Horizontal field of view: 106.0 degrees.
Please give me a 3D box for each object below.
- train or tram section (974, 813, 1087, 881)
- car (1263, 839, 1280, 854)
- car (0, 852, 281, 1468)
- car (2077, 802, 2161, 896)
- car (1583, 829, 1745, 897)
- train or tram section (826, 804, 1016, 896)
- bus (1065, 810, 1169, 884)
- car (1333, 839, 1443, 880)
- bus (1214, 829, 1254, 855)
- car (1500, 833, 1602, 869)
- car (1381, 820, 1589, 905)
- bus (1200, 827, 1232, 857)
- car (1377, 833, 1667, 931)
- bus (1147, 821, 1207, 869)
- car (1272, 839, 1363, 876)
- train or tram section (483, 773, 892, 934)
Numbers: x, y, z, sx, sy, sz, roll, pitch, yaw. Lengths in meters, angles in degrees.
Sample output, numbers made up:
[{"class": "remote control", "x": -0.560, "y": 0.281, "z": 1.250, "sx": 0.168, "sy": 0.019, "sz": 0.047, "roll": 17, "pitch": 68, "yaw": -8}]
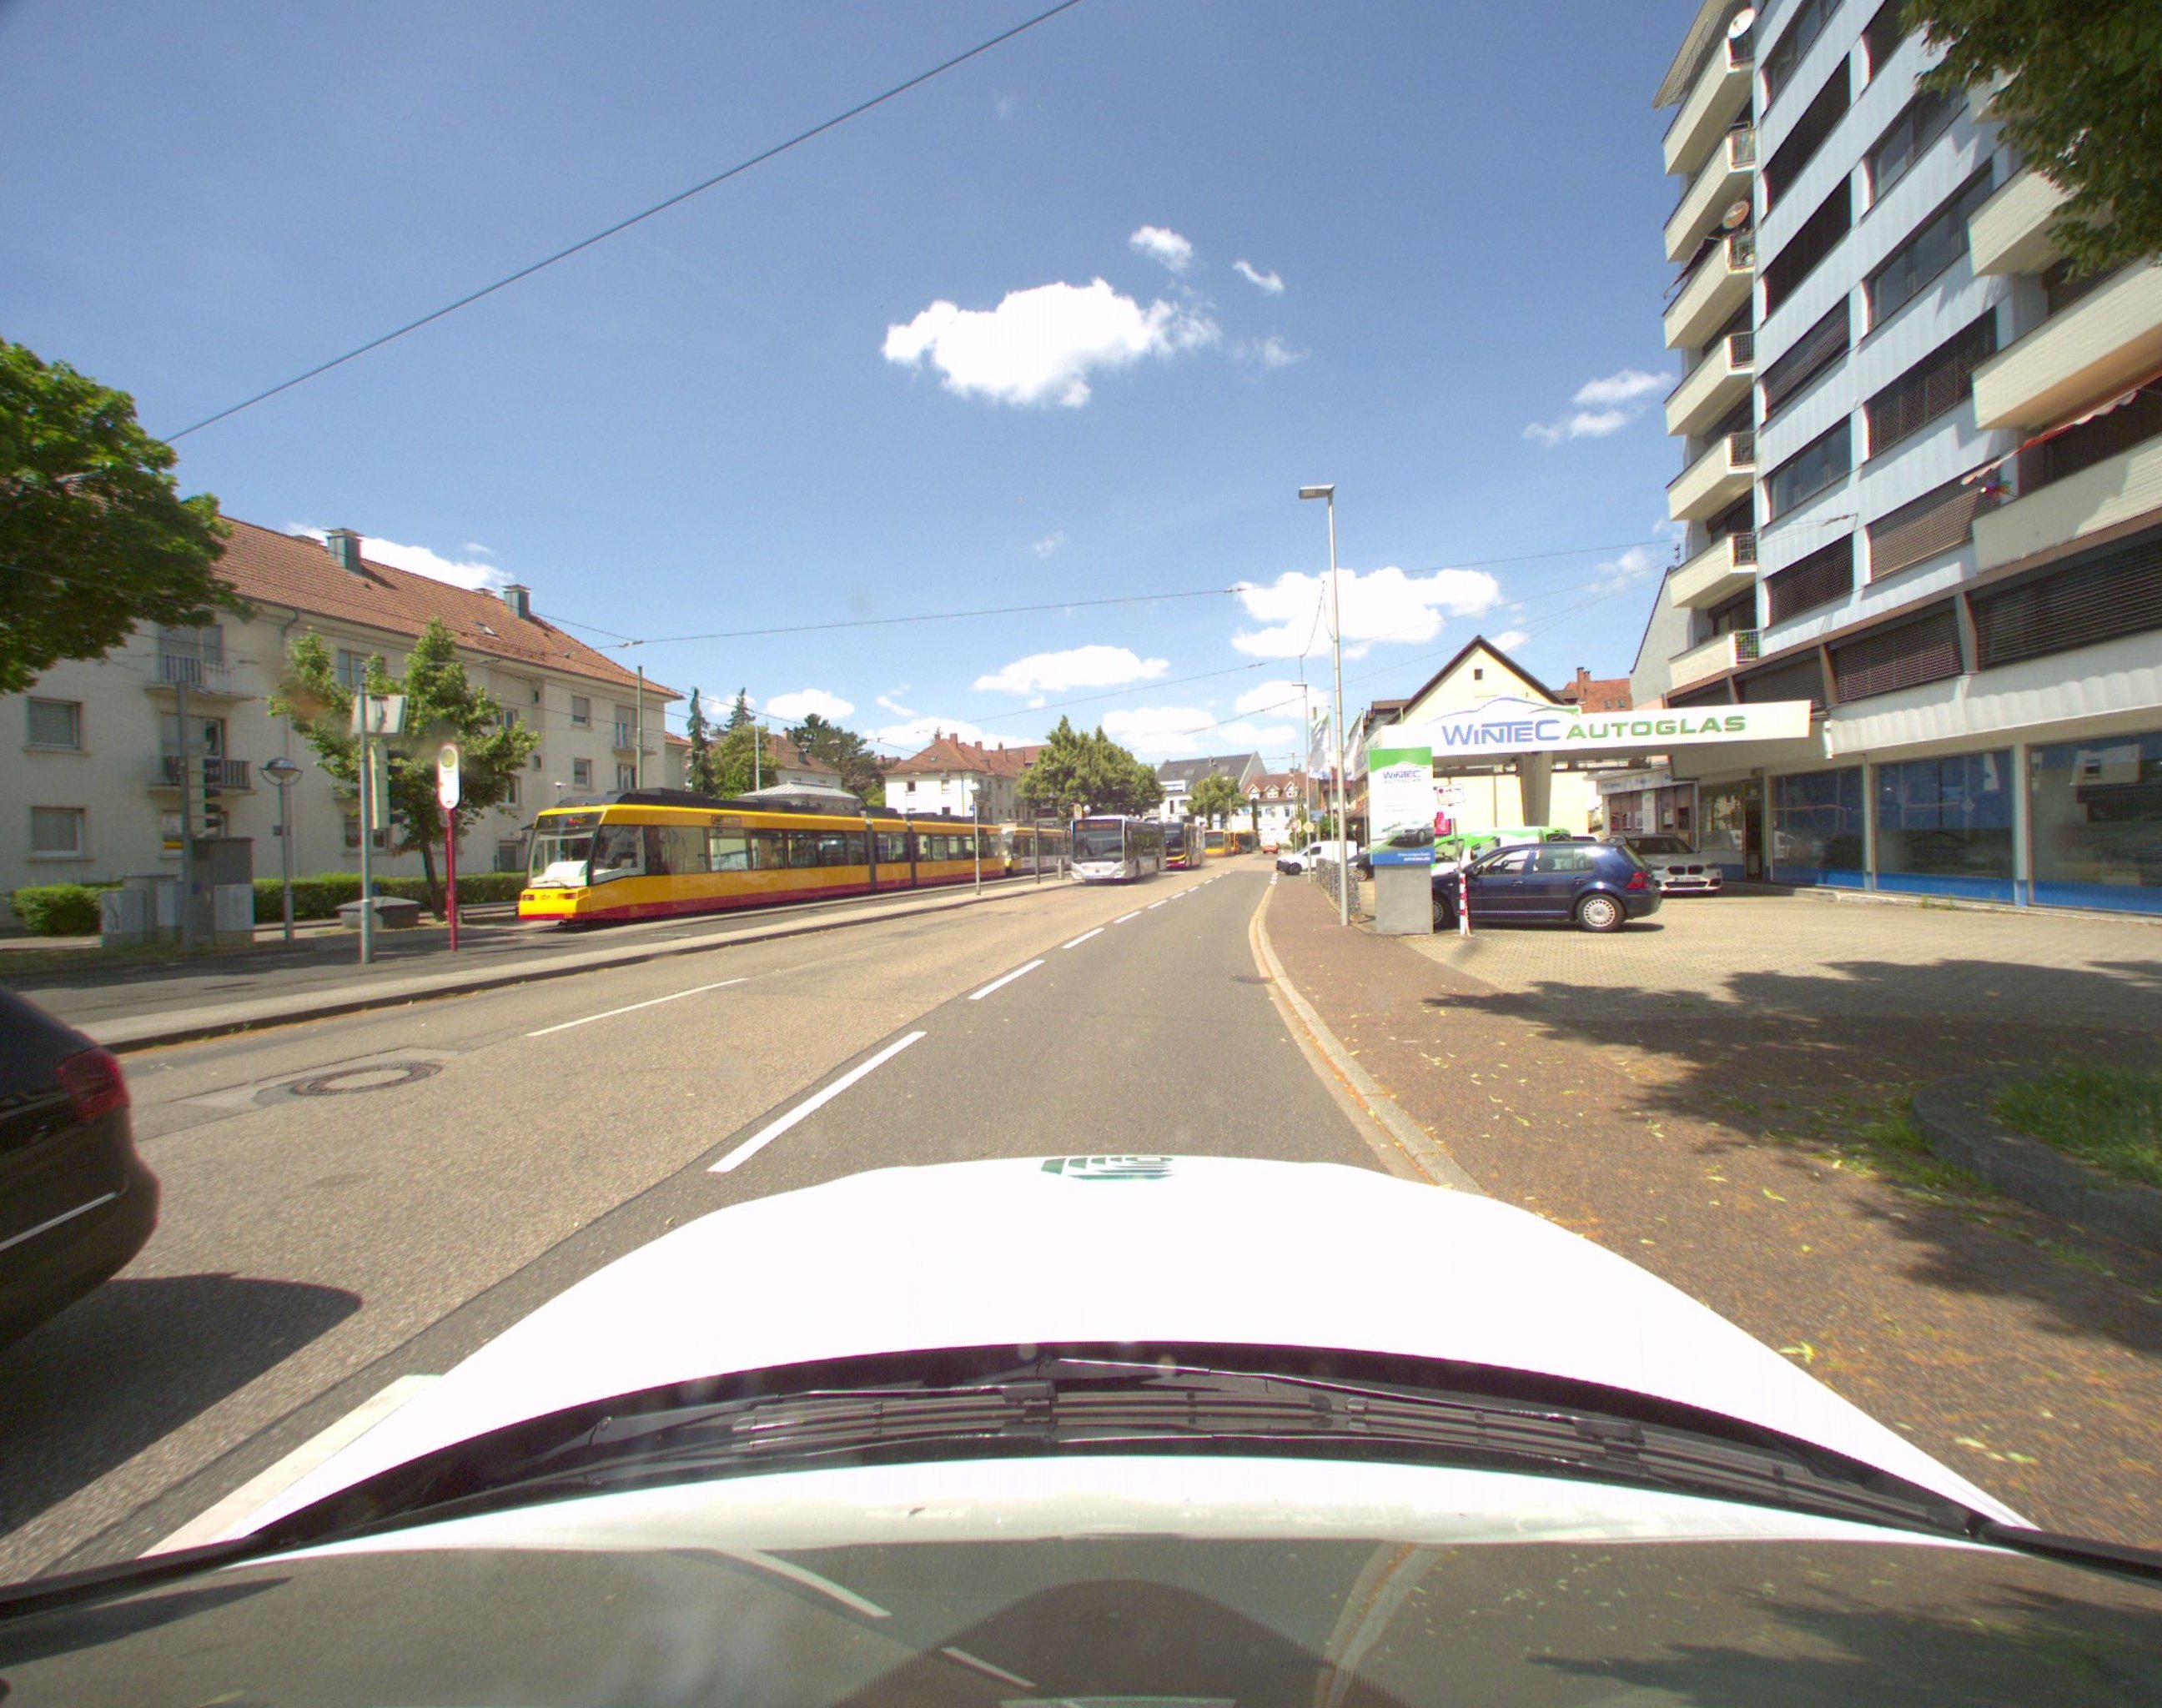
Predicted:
[{"class": "train or tram section", "x": -2.928, "y": -0.452, "z": 54.902, "sx": 2.765, "sy": 3.895, "sz": 15.613, "roll": -1, "pitch": 0, "yaw": 15}, {"class": "car", "x": 25.400, "y": -0.978, "z": 108.432, "sx": 1.793, "sy": 1.981, "sz": 4.020, "roll": -1, "pitch": 0, "yaw": 19}, {"class": "car", "x": -3.785, "y": 0.782, "z": 0.467, "sx": 1.985, "sy": 1.519, "sz": 4.517, "roll": -1, "pitch": 0, "yaw": 4}, {"class": "car", "x": 18.854, "y": -0.101, "z": 12.707, "sx": 1.979, "sy": 1.585, "sz": 4.399, "roll": -1, "pitch": 0, "yaw": 15}, {"class": "car", "x": 15.317, "y": 0.212, "z": 21.723, "sx": 1.994, "sy": 1.596, "sz": 4.304, "roll": -1, "pitch": 0, "yaw": 13}, {"class": "train or tram section", "x": -6.934, "y": -0.202, "z": 39.302, "sx": 2.765, "sy": 3.568, "sz": 14.763, "roll": -1, "pitch": 0, "yaw": 15}, {"class": "bus", "x": 2.143, "y": -0.345, "z": 40.734, "sx": 2.711, "sy": 3.129, "sz": 12.054, "roll": -1, "pitch": 0, "yaw": 14}, {"class": "car", "x": 12.714, "y": 0.220, "z": 33.894, "sx": 3.914, "sy": 1.518, "sz": 1.824, "roll": -2, "pitch": 0, "yaw": 2}, {"class": "bus", "x": 20.152, "y": -1.612, "z": 106.893, "sx": 2.610, "sy": 3.218, "sz": 9.998, "roll": -1, "pitch": 0, "yaw": 25}, {"class": "car", "x": 24.827, "y": -0.163, "z": 43.149, "sx": 4.278, "sy": 1.809, "sz": 2.006, "roll": -1, "pitch": 2, "yaw": 10}, {"class": "car", "x": 9.428, "y": 0.204, "z": 19.304, "sx": 1.850, "sy": 1.794, "sz": 3.982, "roll": -2, "pitch": 0, "yaw": -35}, {"class": "bus", "x": 15.743, "y": -1.394, "z": 94.464, "sx": 2.711, "sy": 3.218, "sz": 11.091, "roll": -1, "pitch": 0, "yaw": 14}, {"class": "car", "x": 7.498, "y": 0.456, "z": 14.007, "sx": 4.118, "sy": 1.439, "sz": 1.914, "roll": -2, "pitch": 0, "yaw": 37}, {"class": "bus", "x": 7.203, "y": -0.651, "z": 59.529, "sx": 2.711, "sy": 3.129, "sz": 12.054, "roll": -1, "pitch": 0, "yaw": 14}, {"class": "car", "x": 12.690, "y": 0.177, "z": 43.888, "sx": 4.290, "sy": 1.809, "sz": 2.000, "roll": -1, "pitch": 2, "yaw": 0}, {"class": "train or tram section", "x": -10.562, "y": -0.050, "z": 25.283, "sx": 2.789, "sy": 3.568, "sz": 14.237, "roll": -1, "pitch": 0, "yaw": 15}]
